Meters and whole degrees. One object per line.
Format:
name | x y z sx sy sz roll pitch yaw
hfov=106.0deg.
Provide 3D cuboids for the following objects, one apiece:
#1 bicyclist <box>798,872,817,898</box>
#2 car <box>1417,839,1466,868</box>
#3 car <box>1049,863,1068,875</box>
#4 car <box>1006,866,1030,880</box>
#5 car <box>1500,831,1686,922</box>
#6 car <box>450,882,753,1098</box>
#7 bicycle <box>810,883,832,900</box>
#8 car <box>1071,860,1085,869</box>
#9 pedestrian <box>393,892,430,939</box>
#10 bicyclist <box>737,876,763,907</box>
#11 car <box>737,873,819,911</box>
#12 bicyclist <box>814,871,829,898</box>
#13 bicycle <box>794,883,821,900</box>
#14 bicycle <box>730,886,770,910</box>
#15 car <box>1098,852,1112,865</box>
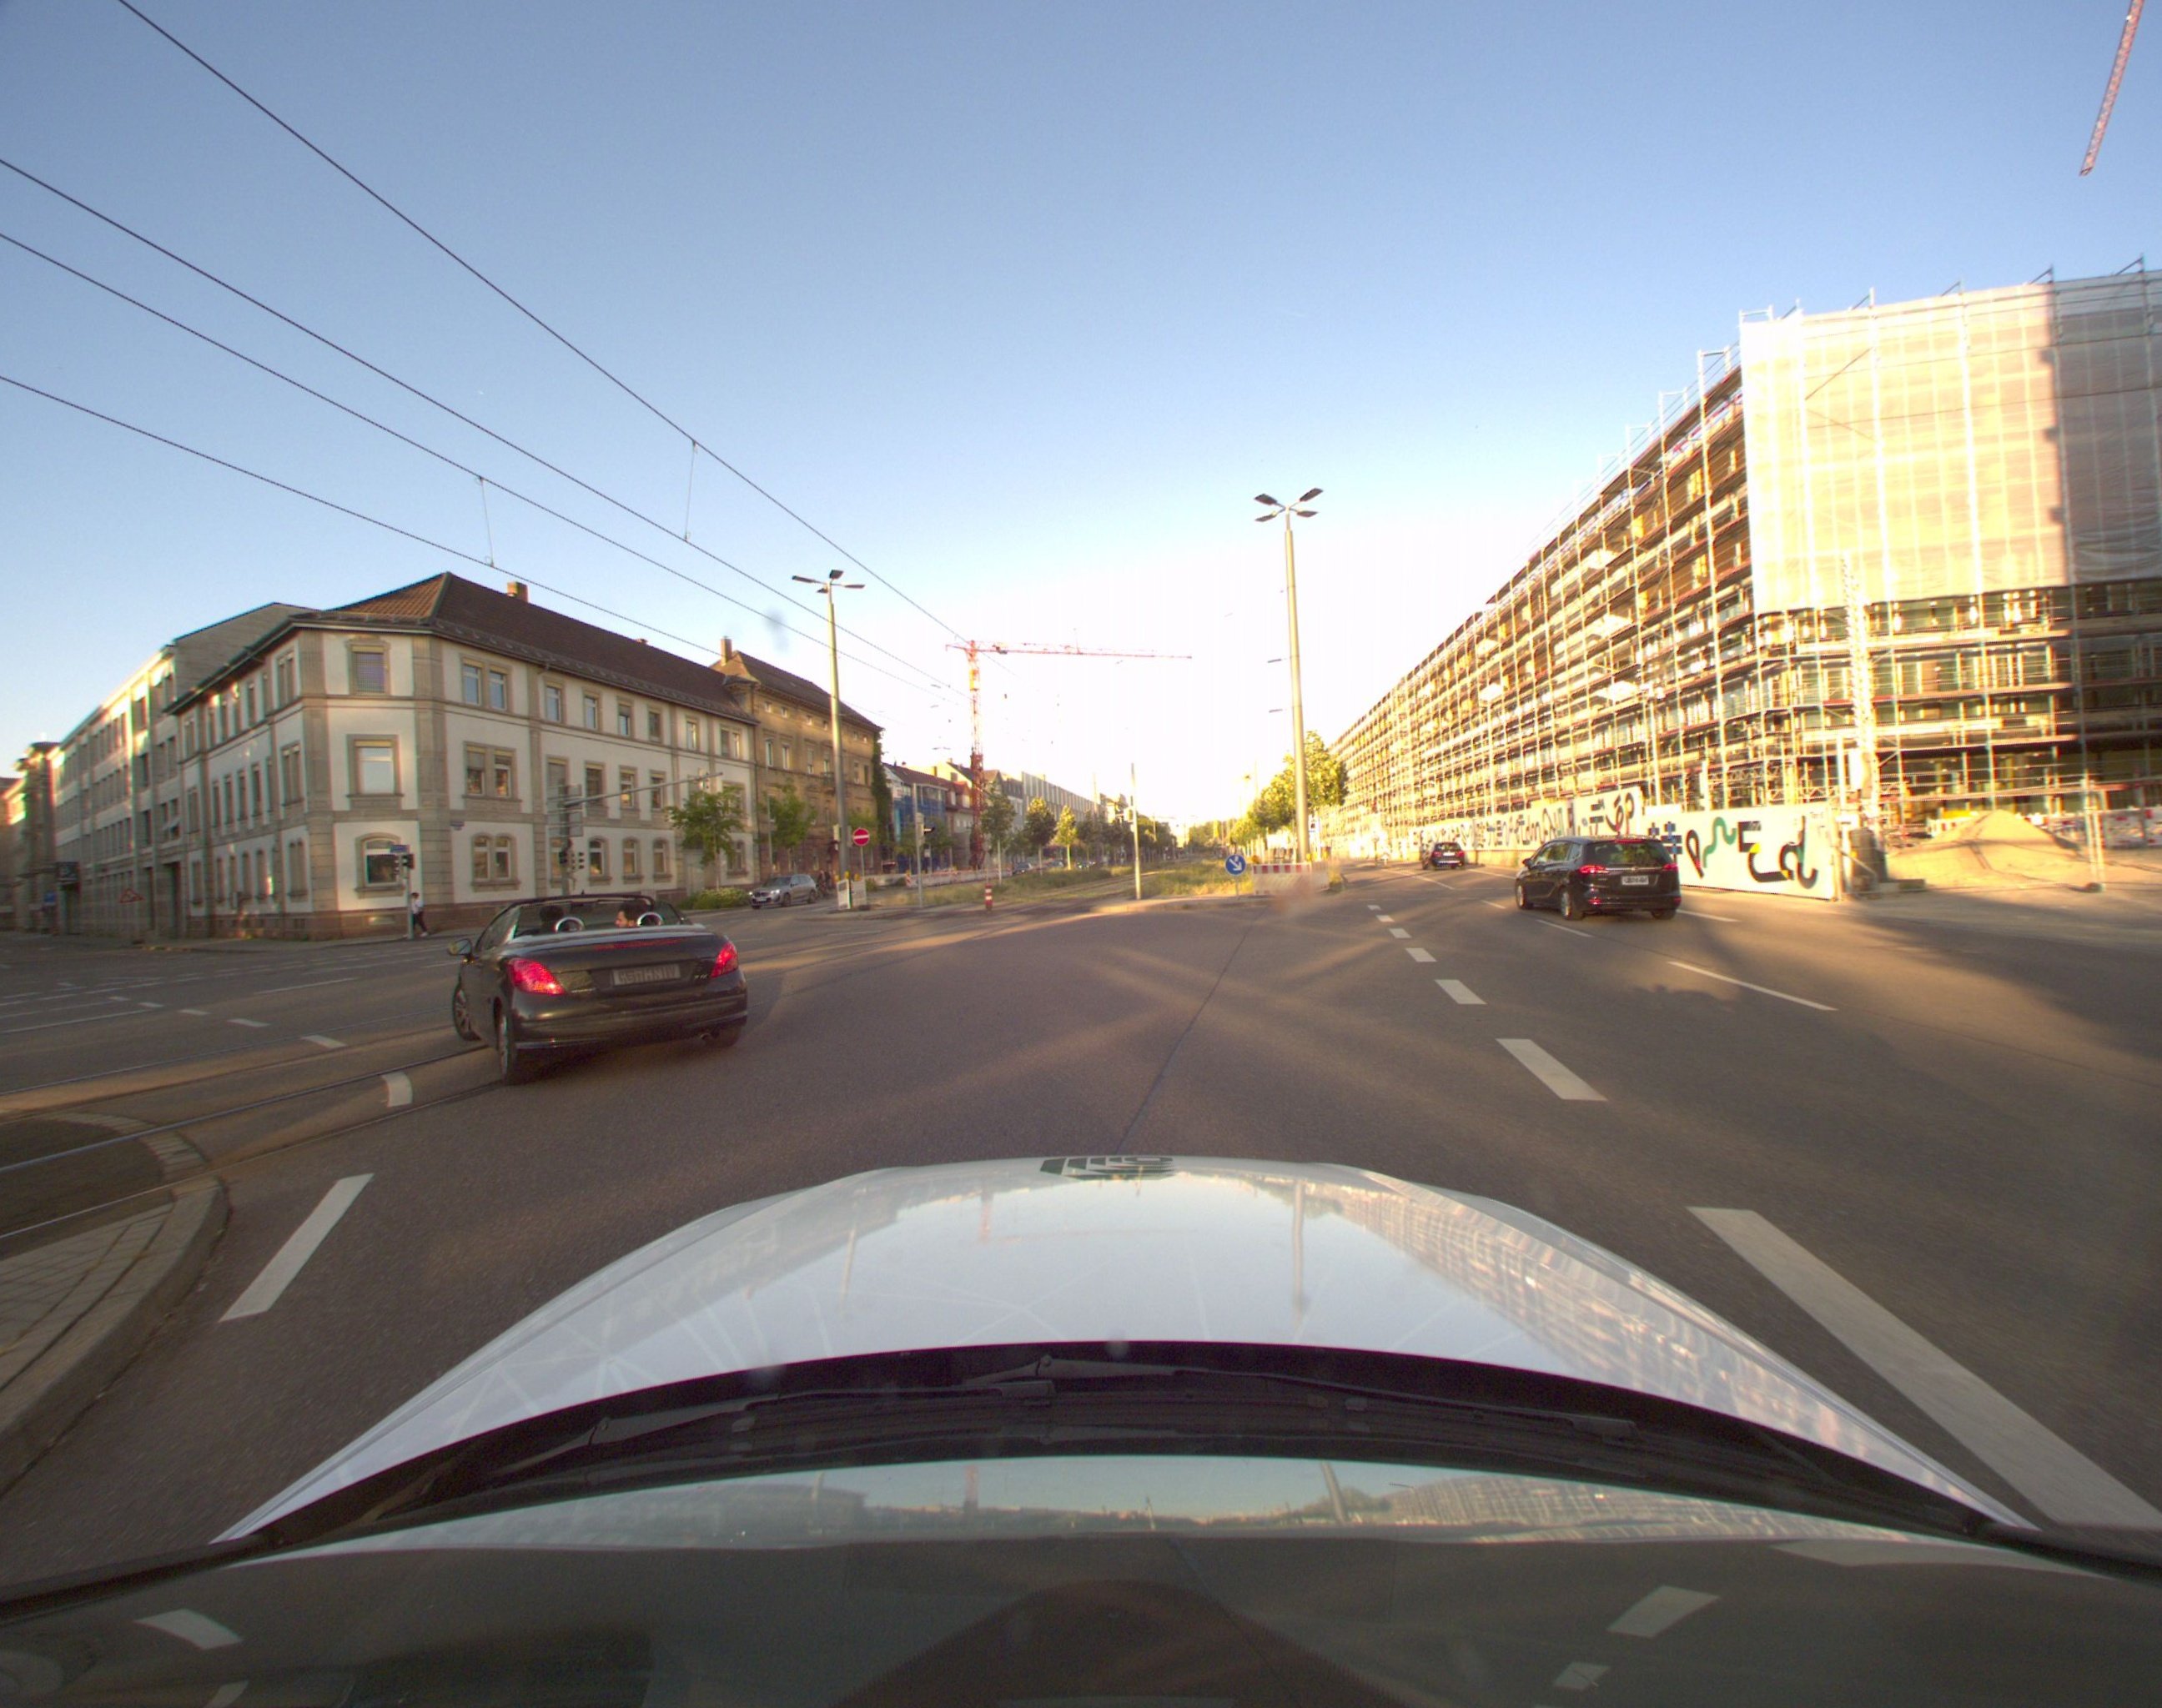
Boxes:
bicyclist | -16.638 1.877 49.597 0.767 1.570 0.795 -1 0 12
car | 19.853 -0.046 45.023 1.807 1.518 4.811 -2 0 16
car | -3.022 2.006 110.094 1.647 1.431 3.906 -1 0 10
car | -7.117 2.159 92.068 1.647 1.431 3.906 -1 0 10
car | 10.173 0.391 16.613 1.810 1.598 4.382 -1 0 12
car | -4.570 1.015 7.457 1.688 1.352 3.952 -2 -2 -41
bicycle | -15.811 2.267 49.520 0.586 0.975 1.560 -1 0 10
car | -0.521 1.788 136.816 1.647 1.431 3.906 -1 0 10
pedestrian | -25.257 2.304 30.731 0.809 1.715 0.702 -1 0 -8
bicyclist | -17.957 2.037 44.203 0.843 1.592 1.002 -1 0 9
car | -15.364 1.912 41.525 1.981 1.580 4.135 -4 0 10
bicyclist | -15.800 1.858 49.606 0.586 1.569 0.713 -1 0 10
bicycle | -16.635 2.287 49.595 0.767 0.945 1.645 -1 0 12
bicycle | -17.952 2.363 44.204 0.842 1.124 2.421 -1 0 9
car | 4.072 0.747 135.971 1.647 1.964 4.279 -1 0 10
